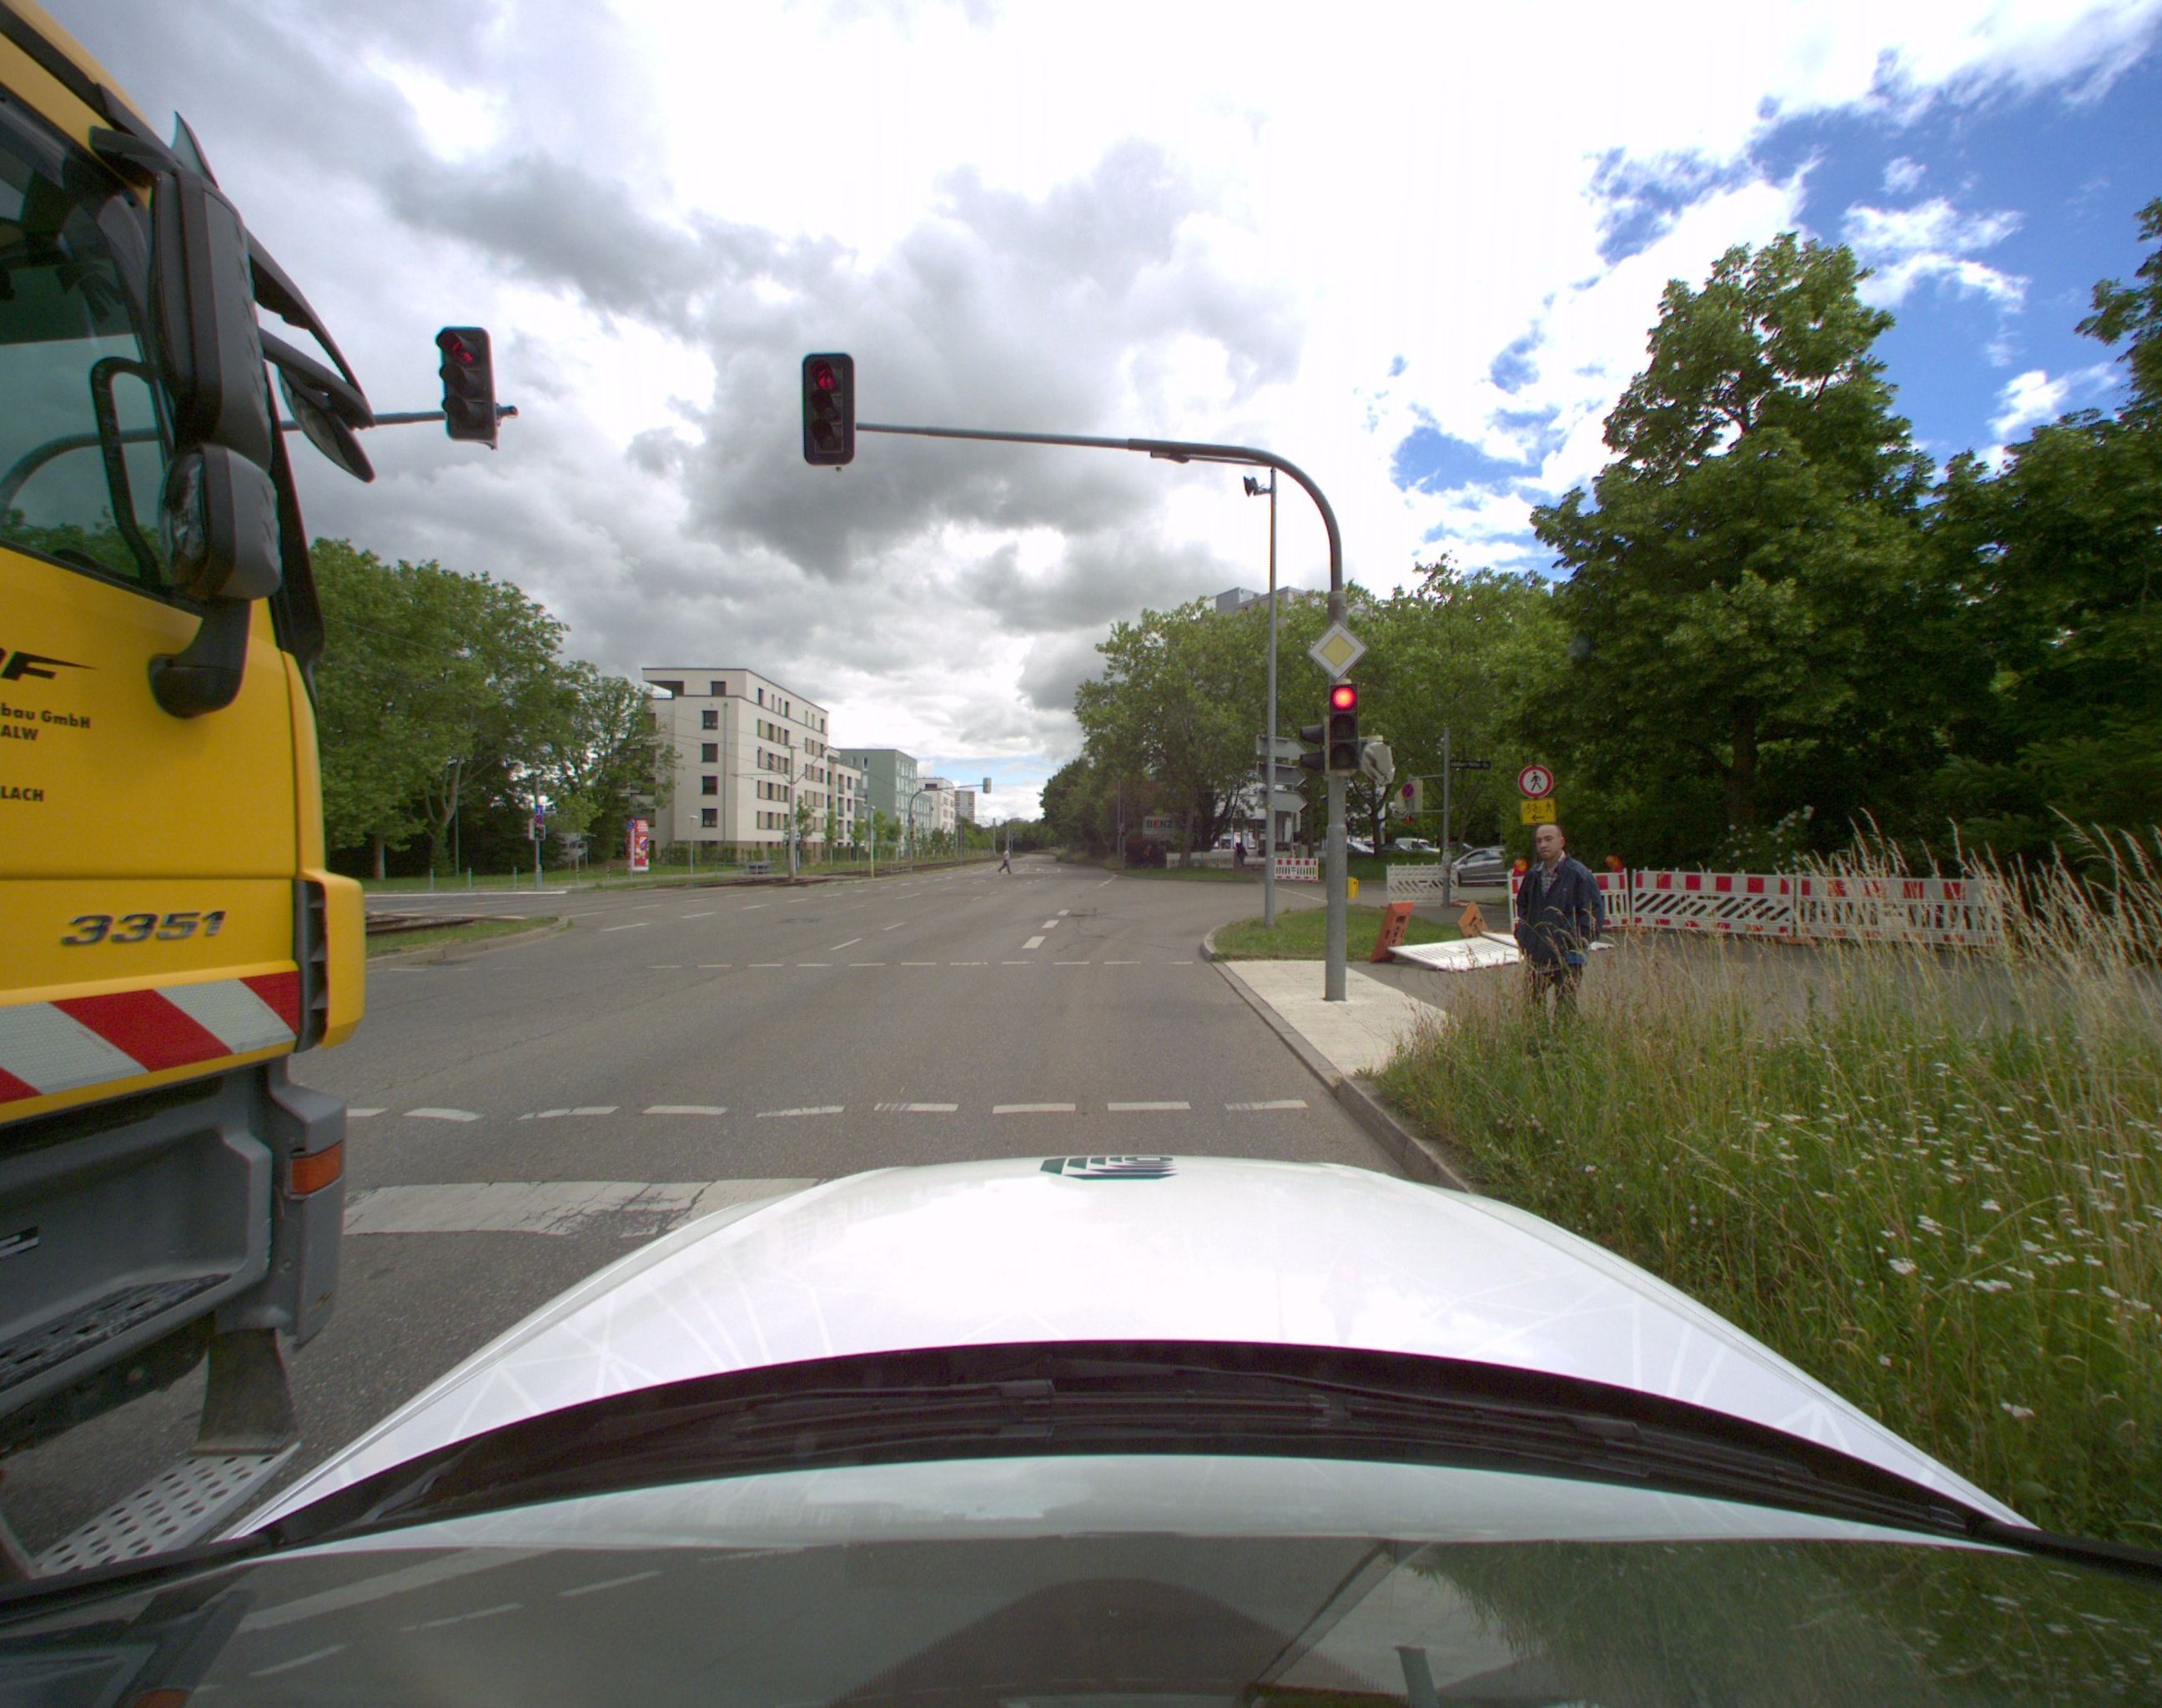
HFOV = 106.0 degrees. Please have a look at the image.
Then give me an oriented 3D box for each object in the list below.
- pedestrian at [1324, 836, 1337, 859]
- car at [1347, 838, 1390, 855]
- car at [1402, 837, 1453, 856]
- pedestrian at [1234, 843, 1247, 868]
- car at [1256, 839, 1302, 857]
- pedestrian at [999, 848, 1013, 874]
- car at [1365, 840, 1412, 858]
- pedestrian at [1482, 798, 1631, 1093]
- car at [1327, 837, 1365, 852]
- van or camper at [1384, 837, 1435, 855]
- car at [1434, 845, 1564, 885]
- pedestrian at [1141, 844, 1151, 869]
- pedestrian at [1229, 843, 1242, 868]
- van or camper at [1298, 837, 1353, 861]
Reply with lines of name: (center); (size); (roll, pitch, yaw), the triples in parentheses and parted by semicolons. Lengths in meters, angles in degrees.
pedestrian: (22.085, -0.547, 72.125); (0.802, 2.002, 0.852); (0, -1, -3)
car: (28.020, -0.771, 79.406); (1.677, 1.634, 3.787); (0, 1, -28)
car: (29.019, -0.601, 68.349); (1.489, 1.465, 3.856); (0, -1, -29)
pedestrian: (9.300, 0.093, 47.525); (0.714, 1.489, 0.700); (0, -1, 6)
car: (17.518, -0.496, 72.279); (1.736, 1.500, 4.234); (0, -1, -24)
pedestrian: (-4.793, 0.447, 51.939); (0.846, 1.586, 0.795); (0, -1, -3)
car: (24.319, -0.377, 64.528); (1.488, 1.404, 3.378); (0, -1, -27)
pedestrian: (3.175, 0.536, 5.411); (0.719, 1.740, 0.962); (-1, 0, 38)
car: (25.310, -0.898, 77.811); (1.489, 1.404, 3.377); (0, -1, -29)
van or camper: (26.975, -0.646, 67.061); (1.523, 1.356, 3.738); (0, -1, -31)
car: (17.053, 0.453, 33.370); (4.379, 1.586, 1.774); (0, -1, 2)
pedestrian: (4.146, 0.169, 51.791); (0.650, 1.539, 0.774); (0, -1, 5)
pedestrian: (9.159, 0.107, 48.234); (0.682, 1.489, 0.700); (0, -1, 5)
van or camper: (18.479, -0.383, 61.730); (1.849, 1.684, 3.967); (-1, 0, -25)
